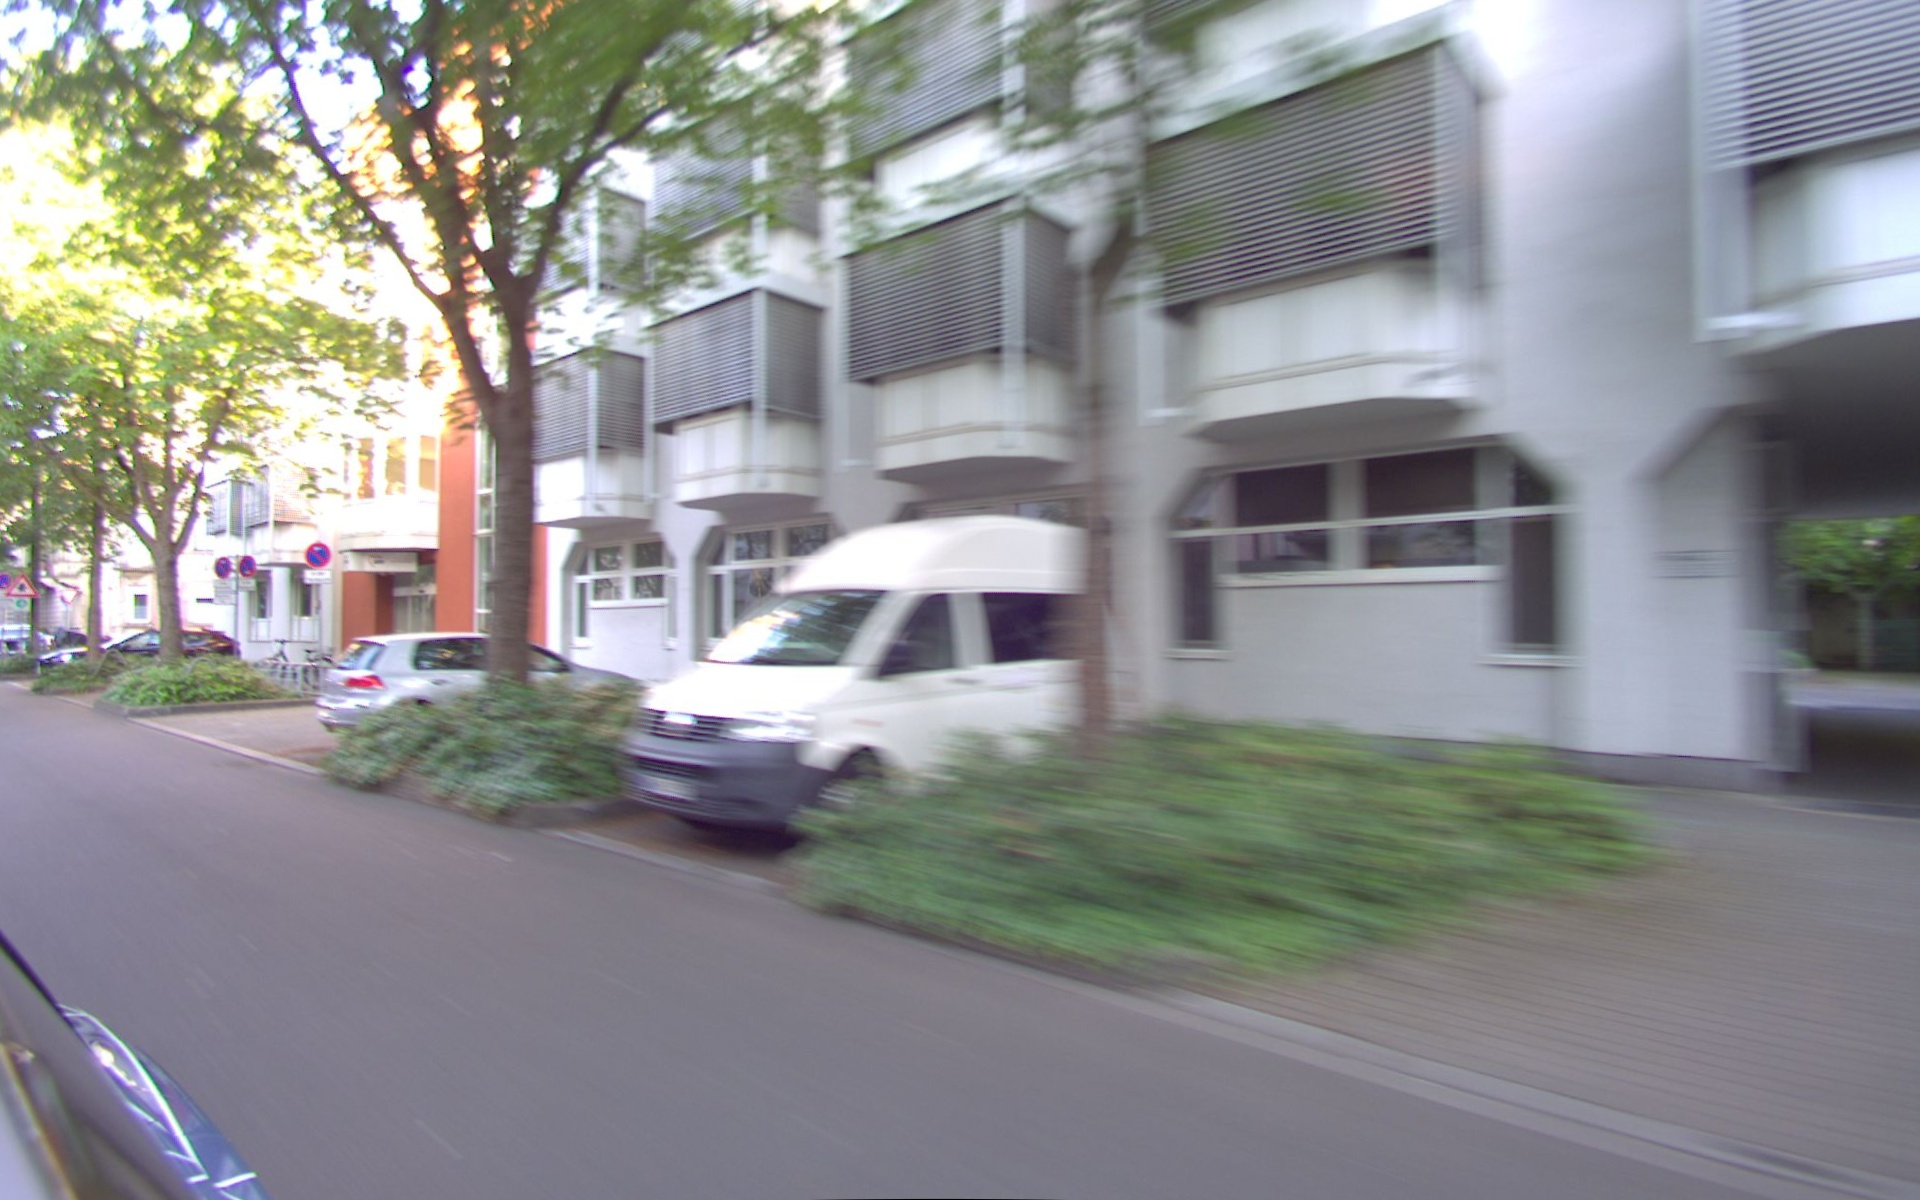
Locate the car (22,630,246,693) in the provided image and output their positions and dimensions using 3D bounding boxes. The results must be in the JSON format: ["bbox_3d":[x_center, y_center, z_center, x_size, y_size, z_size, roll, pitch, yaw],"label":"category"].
[{"bbox_3d":[-22.343,1.608,27.511,1.870,1.537,4.462,-2,-2,40],"label":"car"}]

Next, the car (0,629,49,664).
[{"bbox_3d":[-48.627,2.324,50.589,4.538,1.748,2.142,1,-2,-44],"label":"car"}]

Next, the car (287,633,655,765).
[{"bbox_3d":[-6.544,1.218,13.883,1.952,1.480,4.124,-2,-2,41],"label":"car"}]

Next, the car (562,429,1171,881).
[{"bbox_3d":[-0.432,0.371,8.398,2.120,2.592,4.951,-2,-2,41],"label":"car"}]

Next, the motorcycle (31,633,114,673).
[{"bbox_3d":[-33.687,1.993,38.445,0.895,1.481,2.218,-1,-2,18],"label":"motorcycle"}]

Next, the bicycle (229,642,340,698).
[{"bbox_3d":[-15.038,1.533,22.583,0.654,1.185,1.942,-2,-2,34],"label":"bicycle"}]
